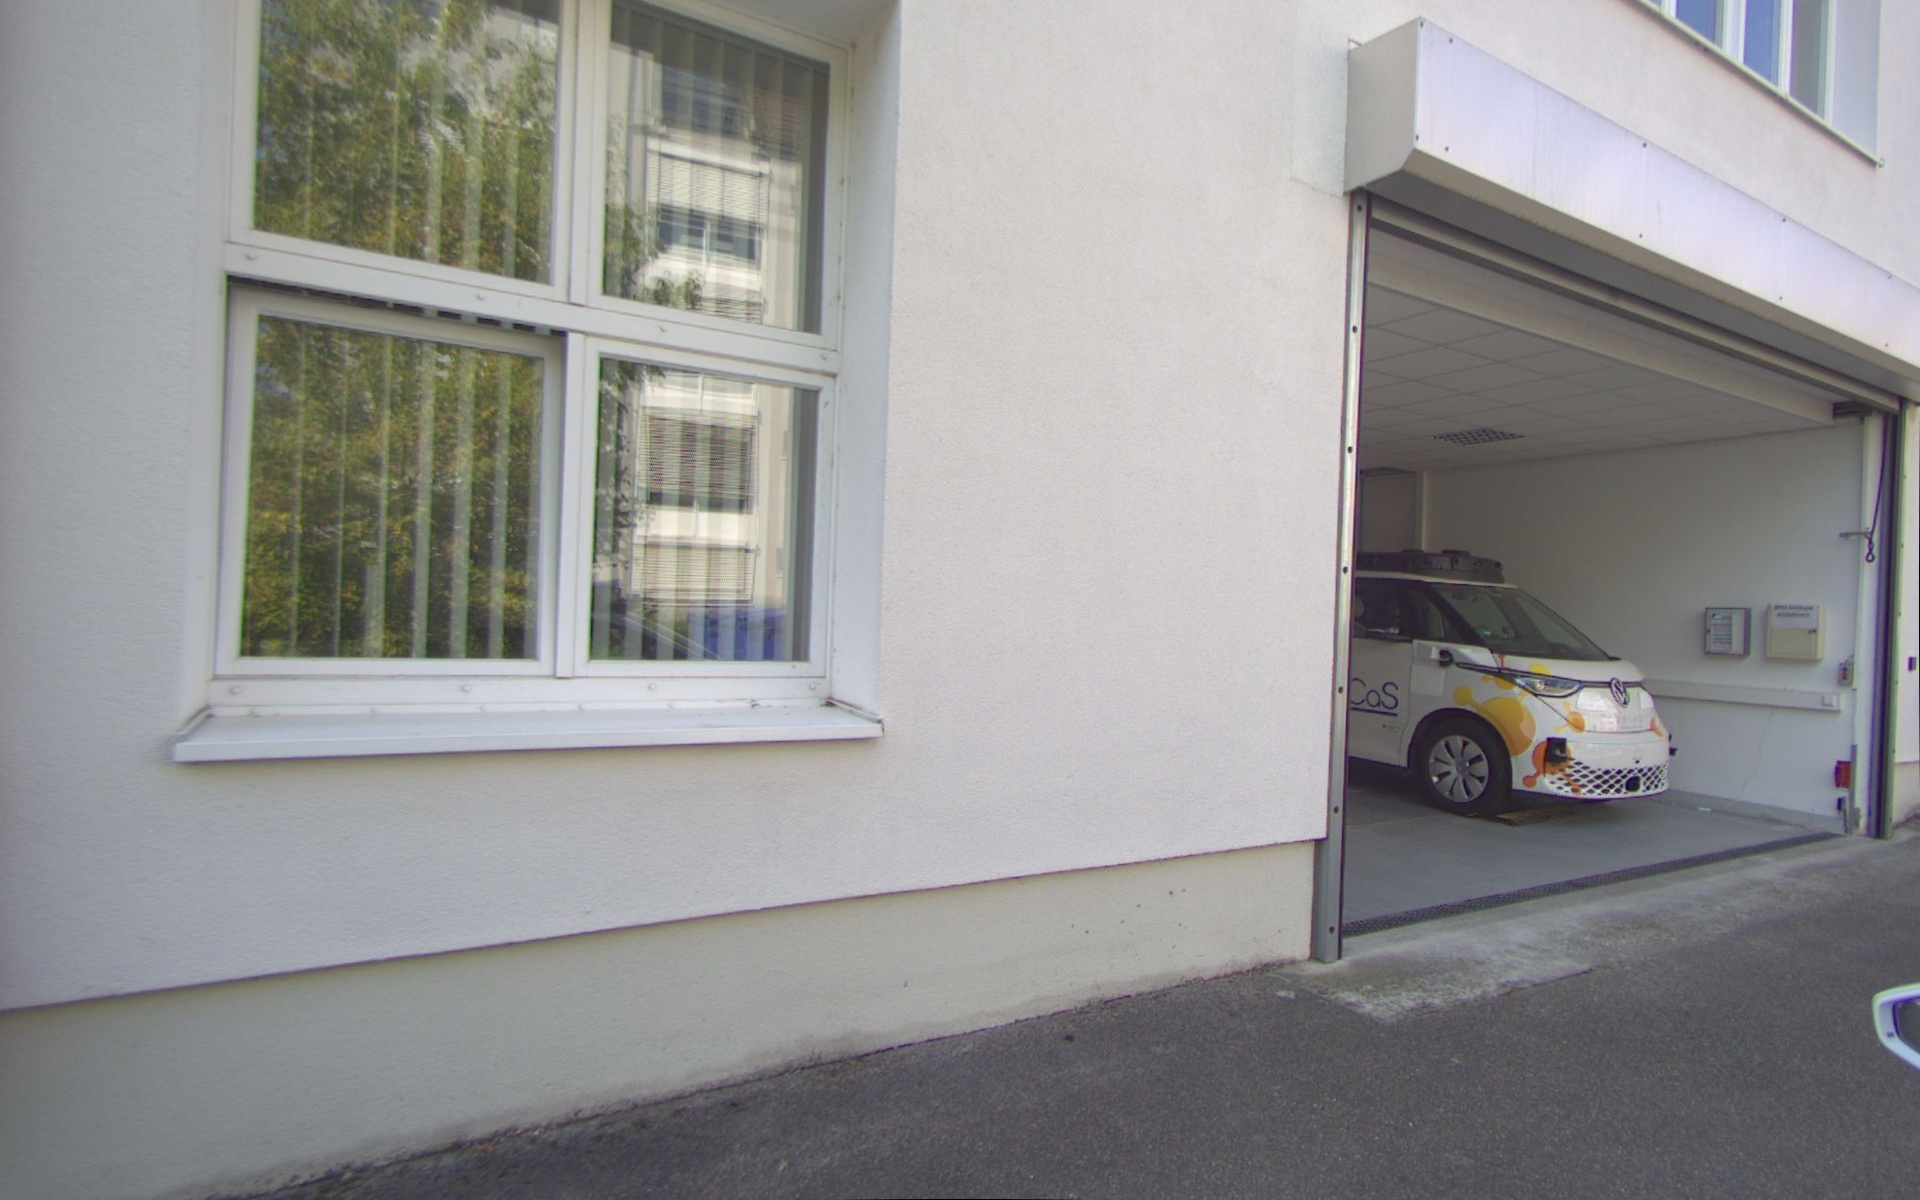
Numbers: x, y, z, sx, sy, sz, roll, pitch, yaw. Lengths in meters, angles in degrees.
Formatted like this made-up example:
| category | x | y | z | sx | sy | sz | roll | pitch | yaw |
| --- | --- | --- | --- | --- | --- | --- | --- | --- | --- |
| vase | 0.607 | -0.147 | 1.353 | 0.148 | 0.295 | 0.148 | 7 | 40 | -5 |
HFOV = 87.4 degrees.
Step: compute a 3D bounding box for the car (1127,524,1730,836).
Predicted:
| category | x | y | z | sx | sy | sz | roll | pitch | yaw |
| --- | --- | --- | --- | --- | --- | --- | --- | --- | --- |
| car | 3.906 | 0.519 | 9.374 | 2.032 | 2.120 | 4.724 | 3 | 0 | -30 |
